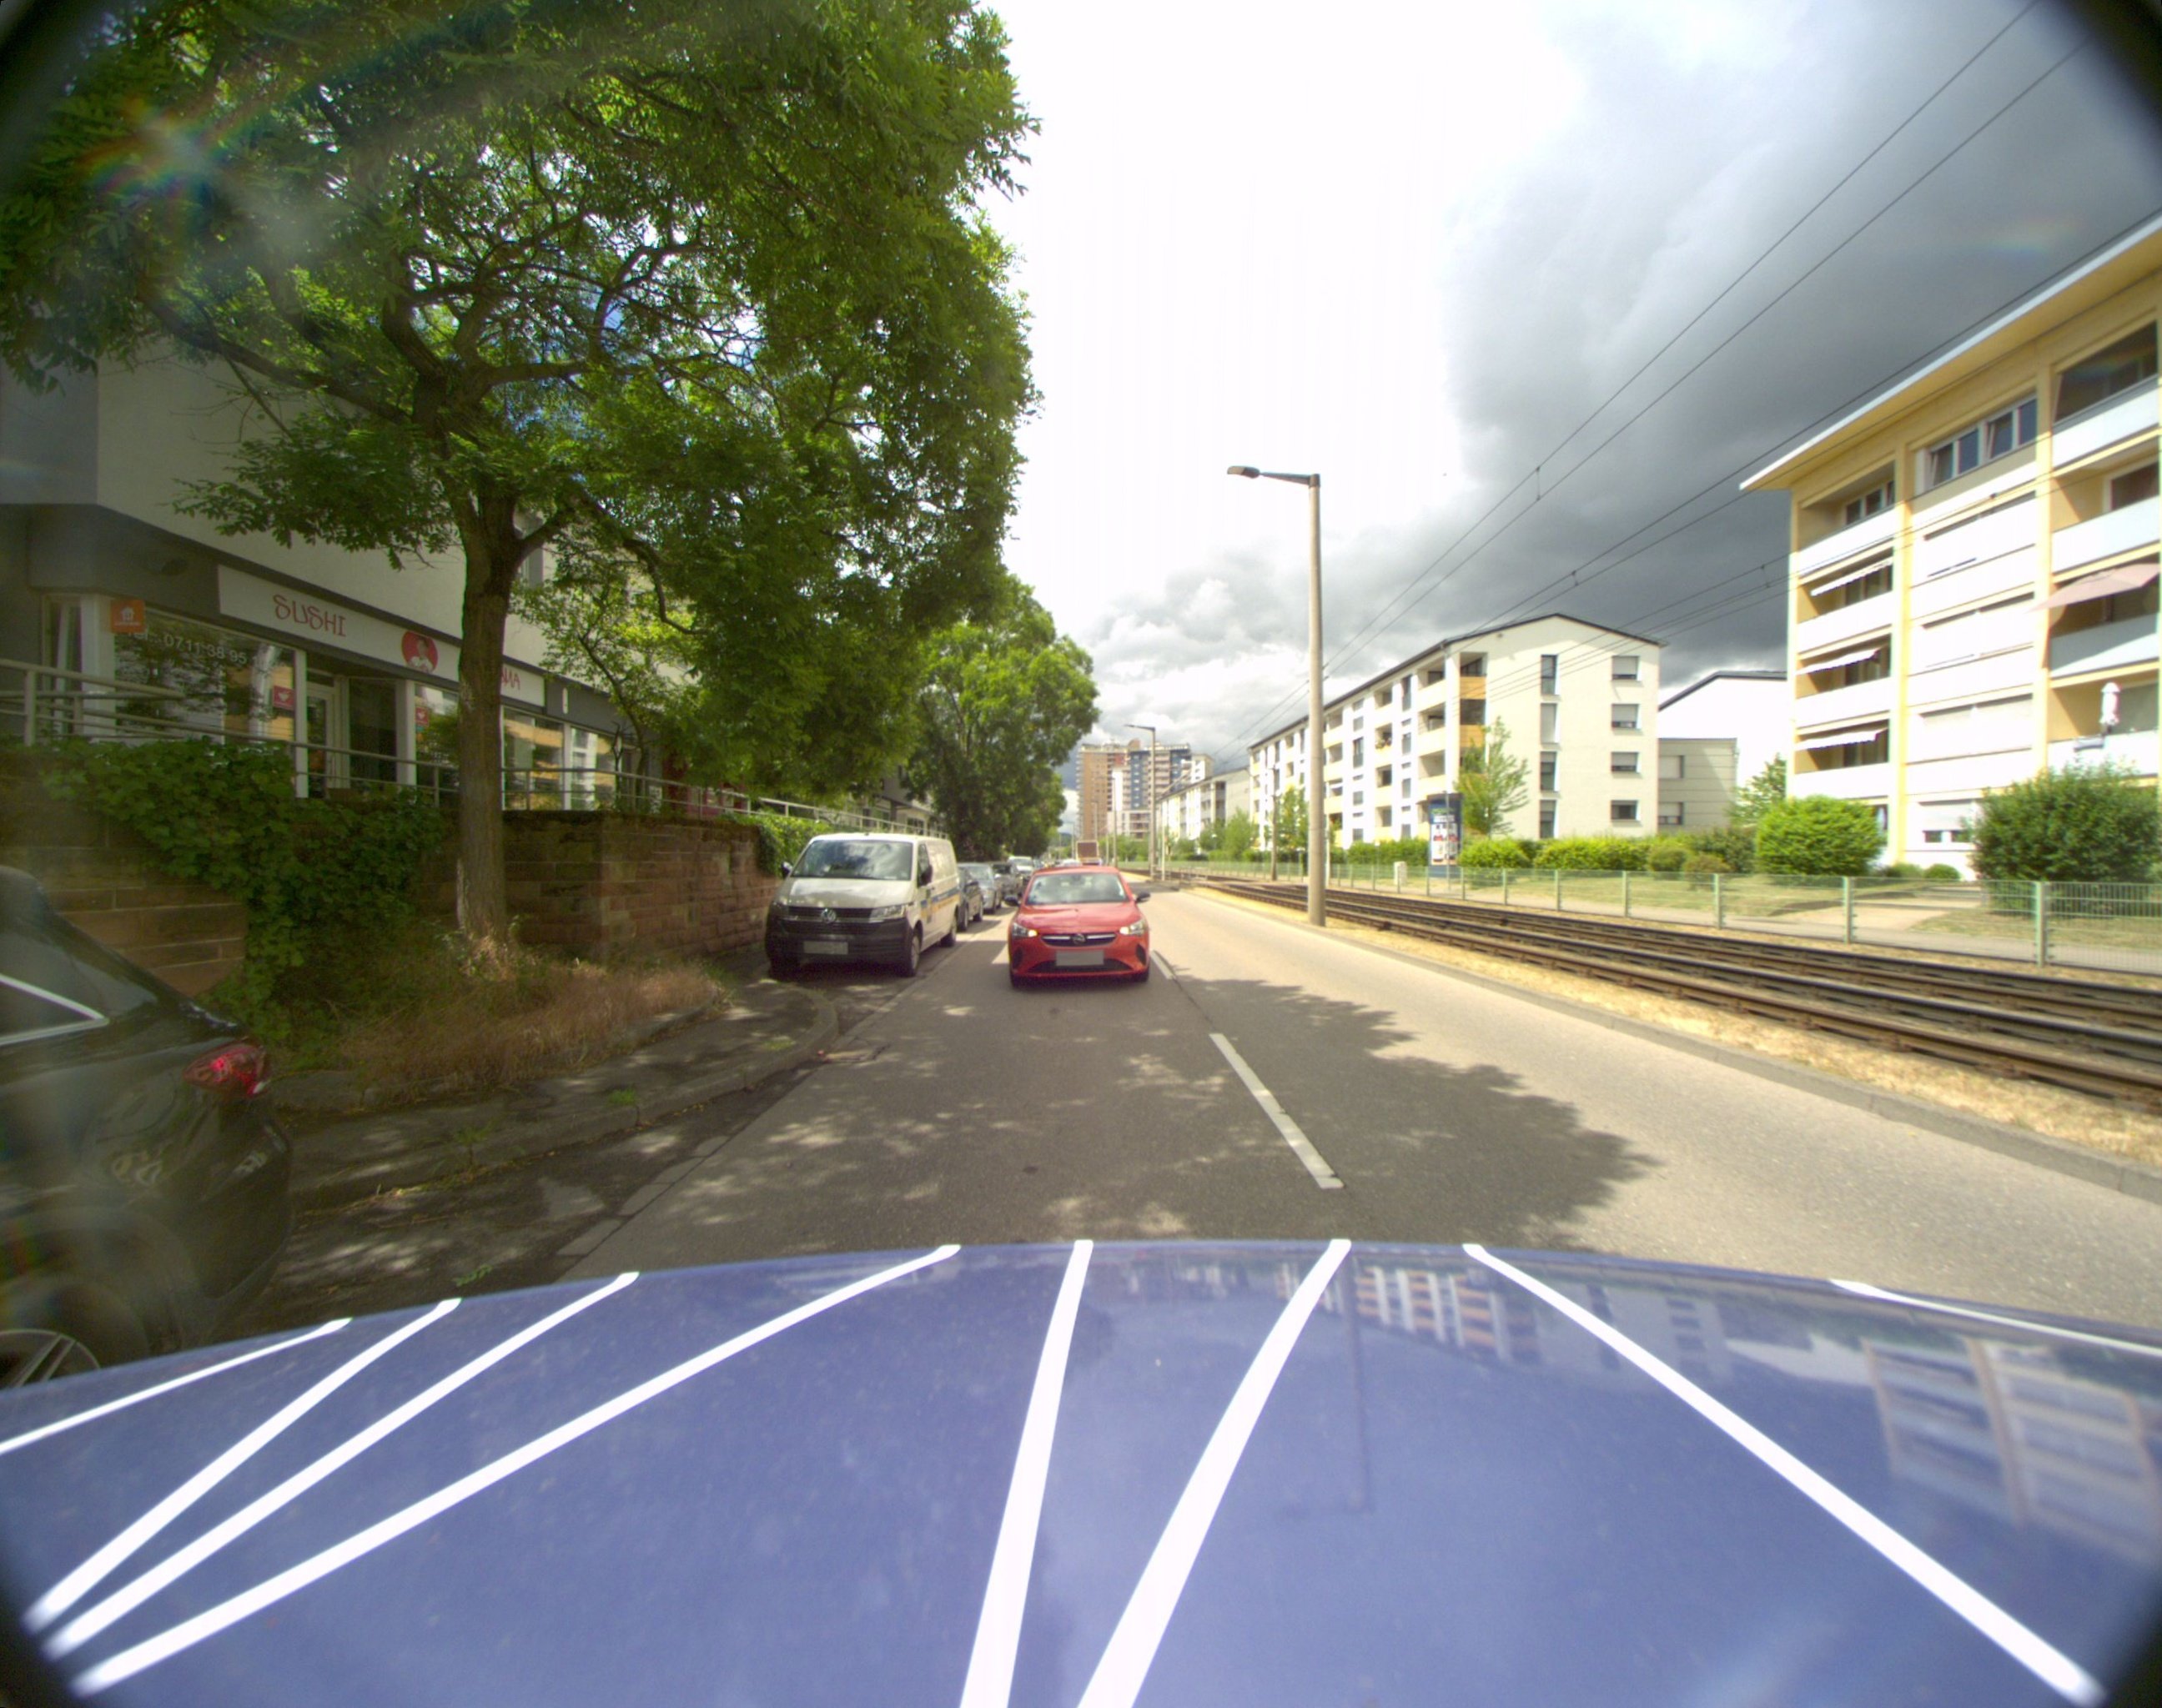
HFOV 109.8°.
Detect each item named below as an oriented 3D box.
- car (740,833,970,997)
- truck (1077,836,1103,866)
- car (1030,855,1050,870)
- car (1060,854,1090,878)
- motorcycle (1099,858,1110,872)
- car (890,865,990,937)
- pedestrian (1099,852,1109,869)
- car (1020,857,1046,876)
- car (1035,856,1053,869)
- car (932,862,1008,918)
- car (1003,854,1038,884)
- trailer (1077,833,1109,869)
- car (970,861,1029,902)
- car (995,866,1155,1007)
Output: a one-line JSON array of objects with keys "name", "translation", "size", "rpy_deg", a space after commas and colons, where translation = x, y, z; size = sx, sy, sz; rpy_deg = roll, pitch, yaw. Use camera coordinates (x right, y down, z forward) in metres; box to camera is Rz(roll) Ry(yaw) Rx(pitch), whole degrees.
[{"name": "car", "translation": [-3.097, 0.734, 11.693], "size": [1.978, 1.958, 5.013], "rpy_deg": [-1, 0, 0]}, {"name": "truck", "translation": [1.025, -0.354, 90.373], "size": [2.852, 3.428, 4.415], "rpy_deg": [-2, 0, 0]}, {"name": "car", "translation": [-4.276, 0.874, 78.997], "size": [1.784, 1.420, 4.147], "rpy_deg": [-1, 0, 0]}, {"name": "car", "translation": [-0.446, 0.803, 52.261], "size": [1.927, 1.543, 3.999], "rpy_deg": [-2, 0, -2]}, {"name": "motorcycle", "translation": [1.994, 0.958, 65.177], "size": [0.783, 1.181, 1.869], "rpy_deg": [-1, 0, -1]}, {"name": "car", "translation": [-3.141, 0.996, 17.636], "size": [1.578, 1.420, 3.734], "rpy_deg": [-1, 0, 0]}, {"name": "pedestrian", "translation": [1.974, 0.555, 65.169], "size": [0.737, 1.408, 0.927], "rpy_deg": [-2, 1, -1]}, {"name": "car", "translation": [-3.891, 1.017, 61.786], "size": [1.784, 1.420, 4.147], "rpy_deg": [-1, 0, 0]}, {"name": "car", "translation": [-4.150, 0.908, 86.155], "size": [1.784, 1.420, 4.147], "rpy_deg": [-1, 0, 0]}, {"name": "car", "translation": [-3.207, 0.991, 22.713], "size": [1.785, 1.420, 4.144], "rpy_deg": [2, 0, -2]}, {"name": "car", "translation": [-3.548, 0.850, 45.034], "size": [1.819, 1.643, 4.146], "rpy_deg": [-1, 0, -2]}, {"name": "trailer", "translation": [1.137, -0.339, 82.390], "size": [2.875, 3.428, 14.613], "rpy_deg": [-2, 0, -1]}, {"name": "car", "translation": [-3.109, 1.006, 29.641], "size": [1.784, 1.420, 4.147], "rpy_deg": [-1, 0, 0]}, {"name": "car", "translation": [-0.025, 0.961, 10.539], "size": [1.723, 1.434, 4.000], "rpy_deg": [-3, 0, 1]}]
